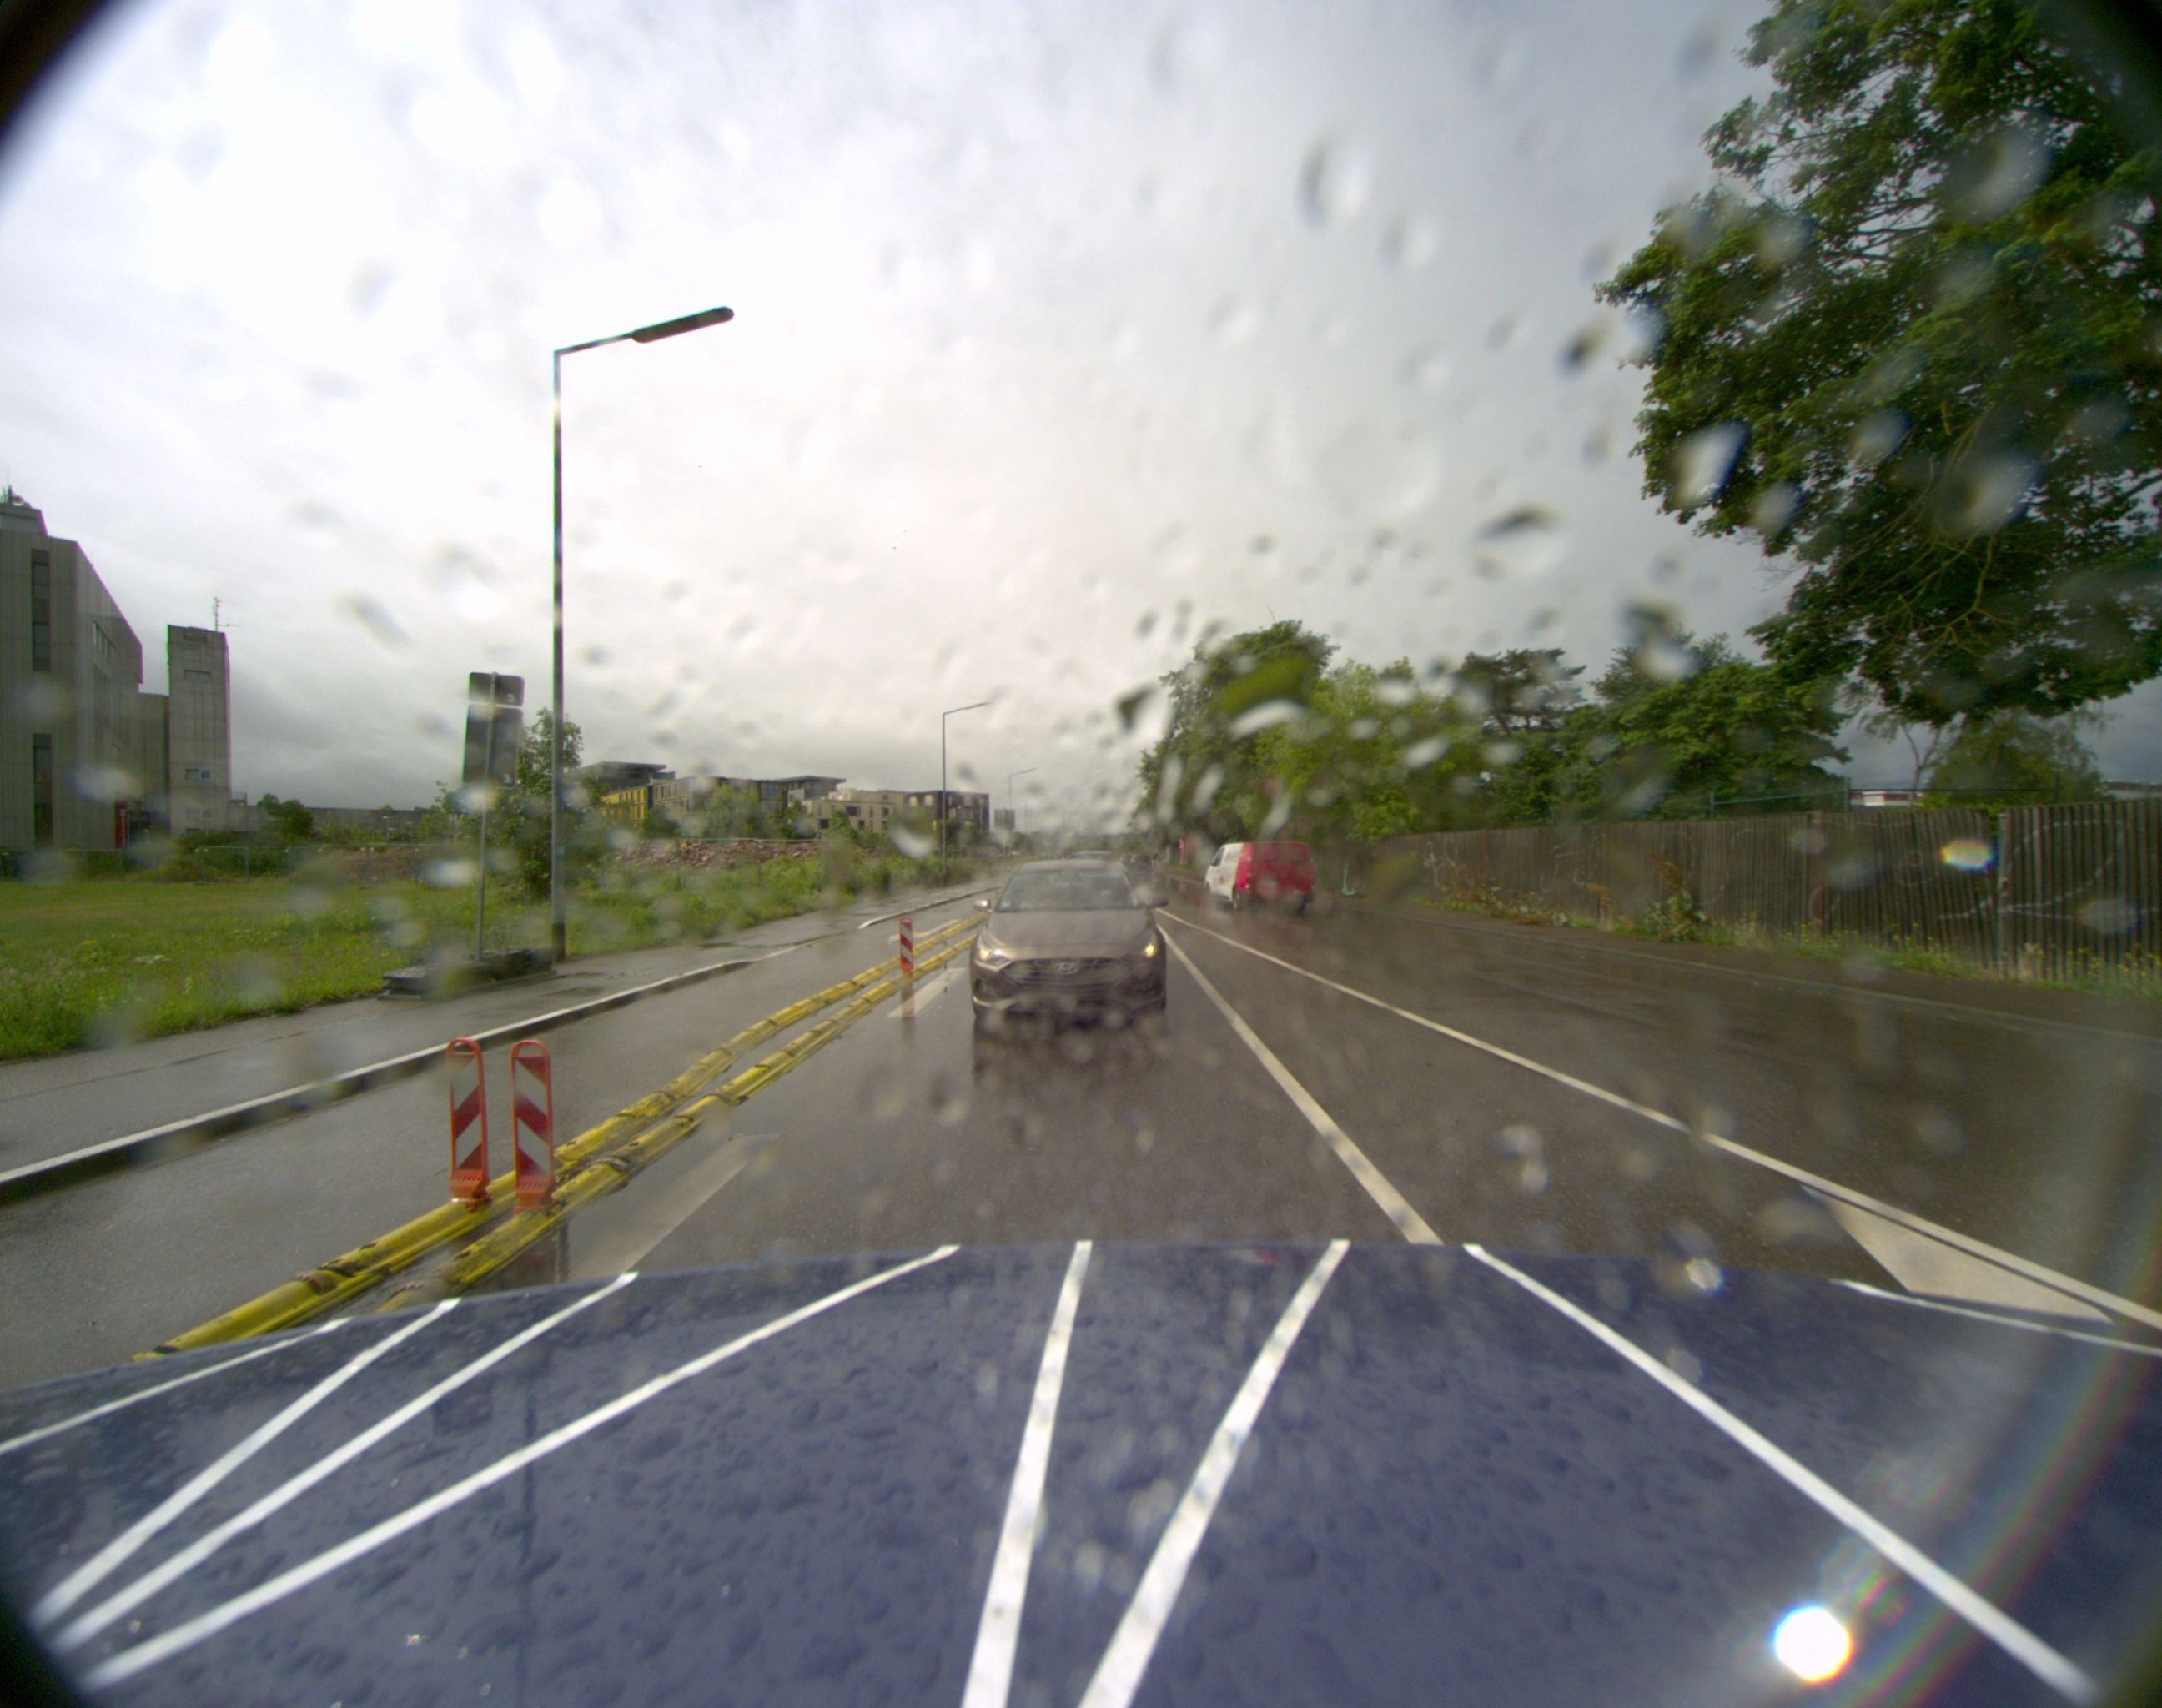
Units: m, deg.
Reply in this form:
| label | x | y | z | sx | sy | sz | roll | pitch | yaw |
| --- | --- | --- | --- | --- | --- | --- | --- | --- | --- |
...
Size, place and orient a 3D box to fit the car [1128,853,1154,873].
| label | x | y | z | sx | sy | sz | roll | pitch | yaw |
| --- | --- | --- | --- | --- | --- | --- | --- | --- | --- |
| car | 4.666 | 0.696 | 59.725 | 1.879 | 1.474 | 4.177 | 0 | 1 | 2 |

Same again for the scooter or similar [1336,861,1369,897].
| label | x | y | z | sx | sy | sz | roll | pitch | yaw |
| --- | --- | --- | --- | --- | --- | --- | --- | --- | --- |
| scooter or similar | 8.980 | 0.812 | 25.182 | 0.564 | 1.156 | 1.207 | 0 | 1 | -6 |

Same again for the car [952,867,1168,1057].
| label | x | y | z | sx | sy | sz | roll | pitch | yaw |
| --- | --- | --- | --- | --- | --- | --- | --- | --- | --- |
| car | -0.194 | 0.904 | 8.015 | 1.724 | 1.423 | 3.817 | -1 | 0 | -1 |

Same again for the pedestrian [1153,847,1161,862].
| label | x | y | z | sx | sy | sz | roll | pitch | yaw |
| --- | --- | --- | --- | --- | --- | --- | --- | --- | --- |
| pedestrian | 9.248 | 0.079 | 92.525 | 0.841 | 1.759 | 0.644 | 0 | 1 | 1 |

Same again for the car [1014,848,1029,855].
| label | x | y | z | sx | sy | sz | roll | pitch | yaw |
| --- | --- | --- | --- | --- | --- | --- | --- | --- | --- |
| car | -16.732 | -0.725 | 213.558 | 4.008 | 2.002 | 1.994 | -1 | 1 | -43 |

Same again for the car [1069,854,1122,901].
| label | x | y | z | sx | sy | sz | roll | pitch | yaw |
| --- | --- | --- | --- | --- | --- | --- | --- | --- | --- |
| car | 0.494 | 0.778 | 27.003 | 1.734 | 1.539 | 3.770 | -1 | 0 | 0 |

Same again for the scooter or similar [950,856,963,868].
| label | x | y | z | sx | sy | sz | roll | pitch | yaw |
| --- | --- | --- | --- | --- | --- | --- | --- | --- | --- |
| scooter or similar | -11.995 | 0.772 | 73.321 | 1.191 | 1.143 | 0.484 | 0 | 1 | 35 |

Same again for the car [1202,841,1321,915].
| label | x | y | z | sx | sy | sz | roll | pitch | yaw |
| --- | --- | --- | --- | --- | --- | --- | --- | --- | --- |
| car | 4.971 | 0.595 | 21.763 | 1.893 | 1.865 | 5.130 | 0 | 0 | -3 |

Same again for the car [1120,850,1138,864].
| label | x | y | z | sx | sy | sz | roll | pitch | yaw |
| --- | --- | --- | --- | --- | --- | --- | --- | --- | --- |
| car | 5.726 | 0.394 | 90.611 | 1.784 | 1.543 | 4.428 | 2 | 0 | 7 |
